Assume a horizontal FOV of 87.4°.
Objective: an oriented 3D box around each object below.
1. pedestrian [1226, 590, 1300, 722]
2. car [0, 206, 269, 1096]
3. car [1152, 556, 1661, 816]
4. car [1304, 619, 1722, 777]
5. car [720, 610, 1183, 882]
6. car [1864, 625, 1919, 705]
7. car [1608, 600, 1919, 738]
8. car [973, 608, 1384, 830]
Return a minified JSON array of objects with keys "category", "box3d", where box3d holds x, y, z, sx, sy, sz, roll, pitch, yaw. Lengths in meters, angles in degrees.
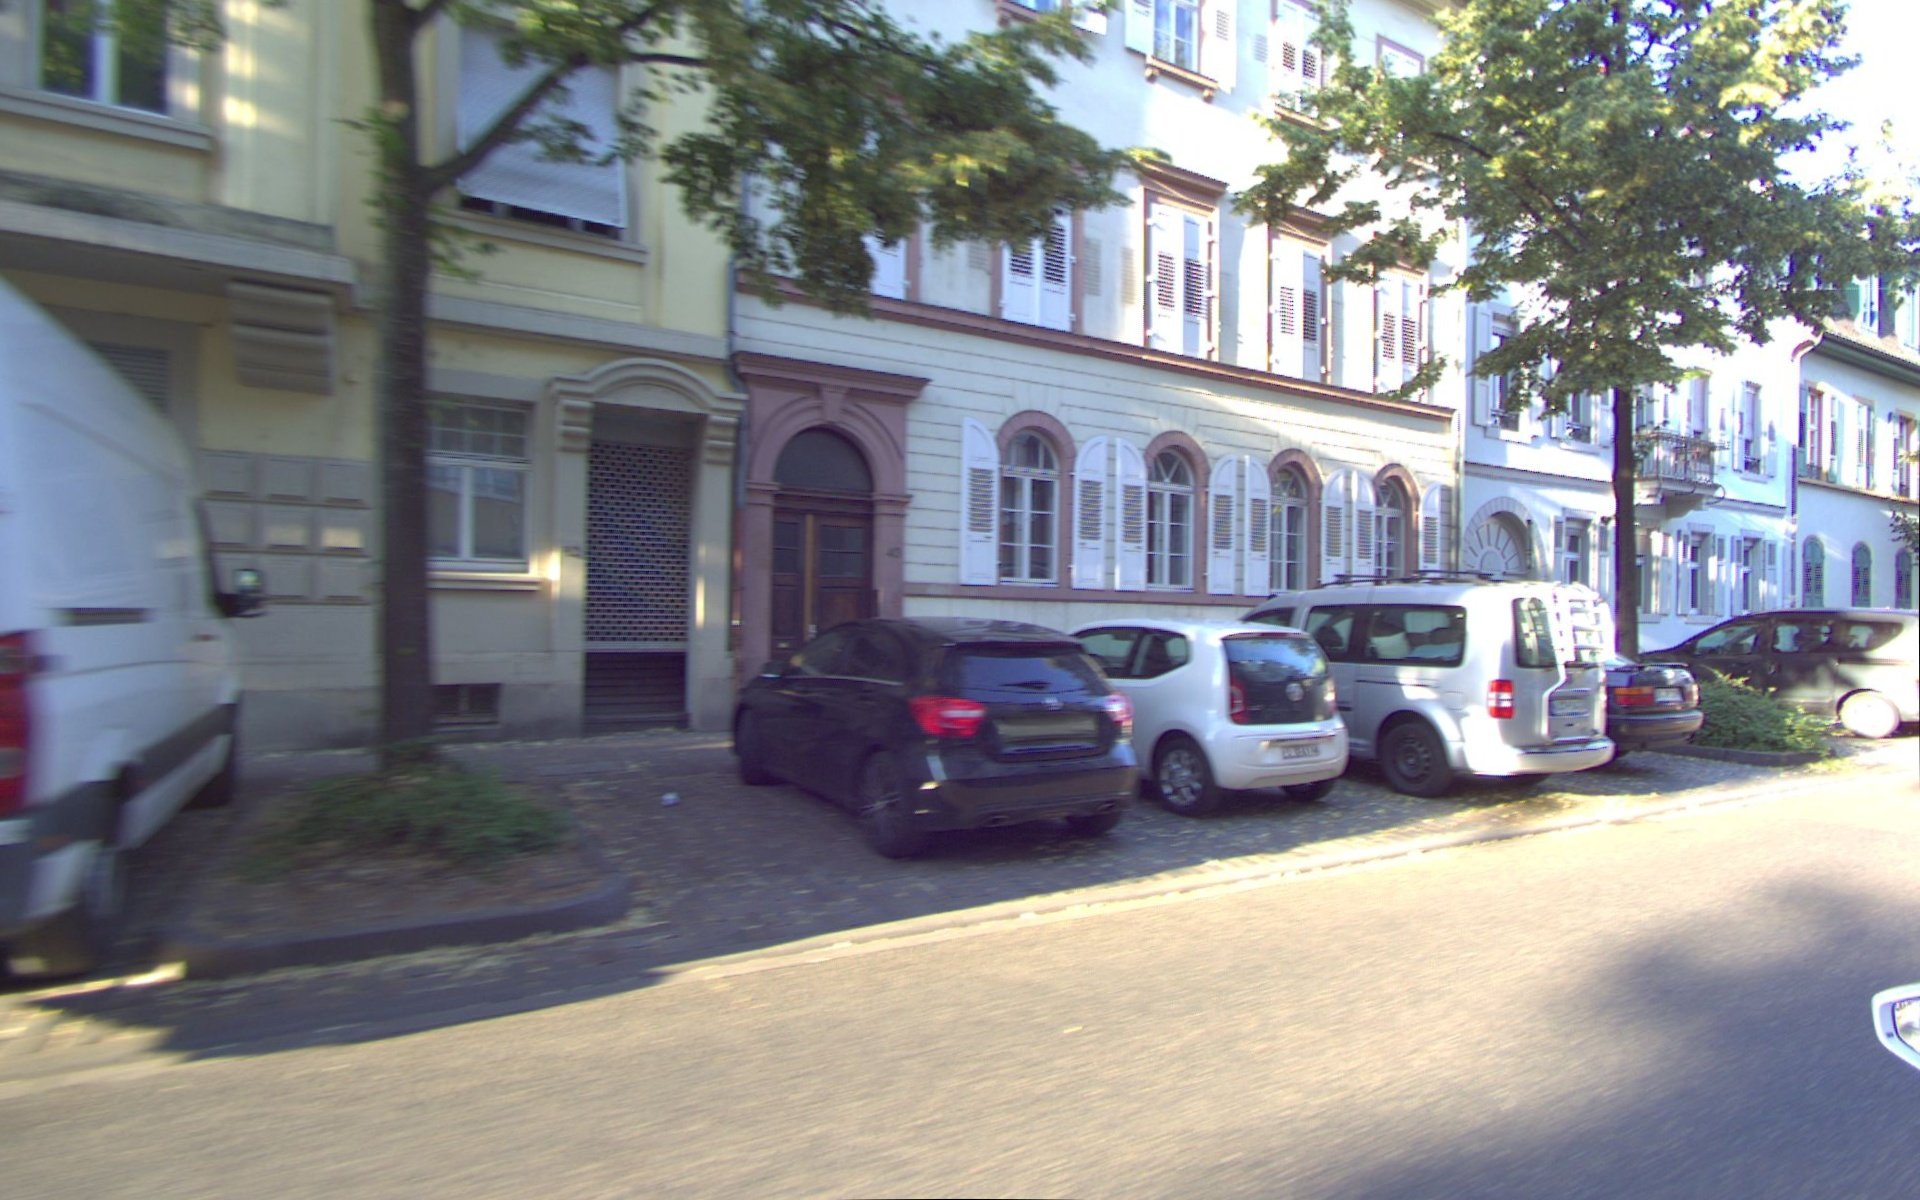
[{"category":"pedestrian","box3d":[4.345,0.786,14.418,0.770,1.826,0.659,1,-1,-30]},{"category":"car","box3d":[-5.055,0.101,4.973,2.145,2.656,5.632,1,0,-29]},{"category":"car","box3d":[4.096,0.676,10.097,1.894,1.979,4.483,1,-1,-27]},{"category":"car","box3d":[6.203,0.987,11.818,1.574,1.459,4.135,1,-1,-28]},{"category":"car","box3d":[-0.354,0.843,7.633,1.730,1.422,3.966,2,-1,-31]},{"category":"car","box3d":[19.265,1.224,18.177,1.667,1.481,4.036,1,-1,-32]},{"category":"car","box3d":[12.653,0.952,15.524,1.784,1.830,4.122,1,-1,-28]},{"category":"car","box3d":[1.755,0.865,8.945,1.695,1.486,3.349,1,0,-33]}]
